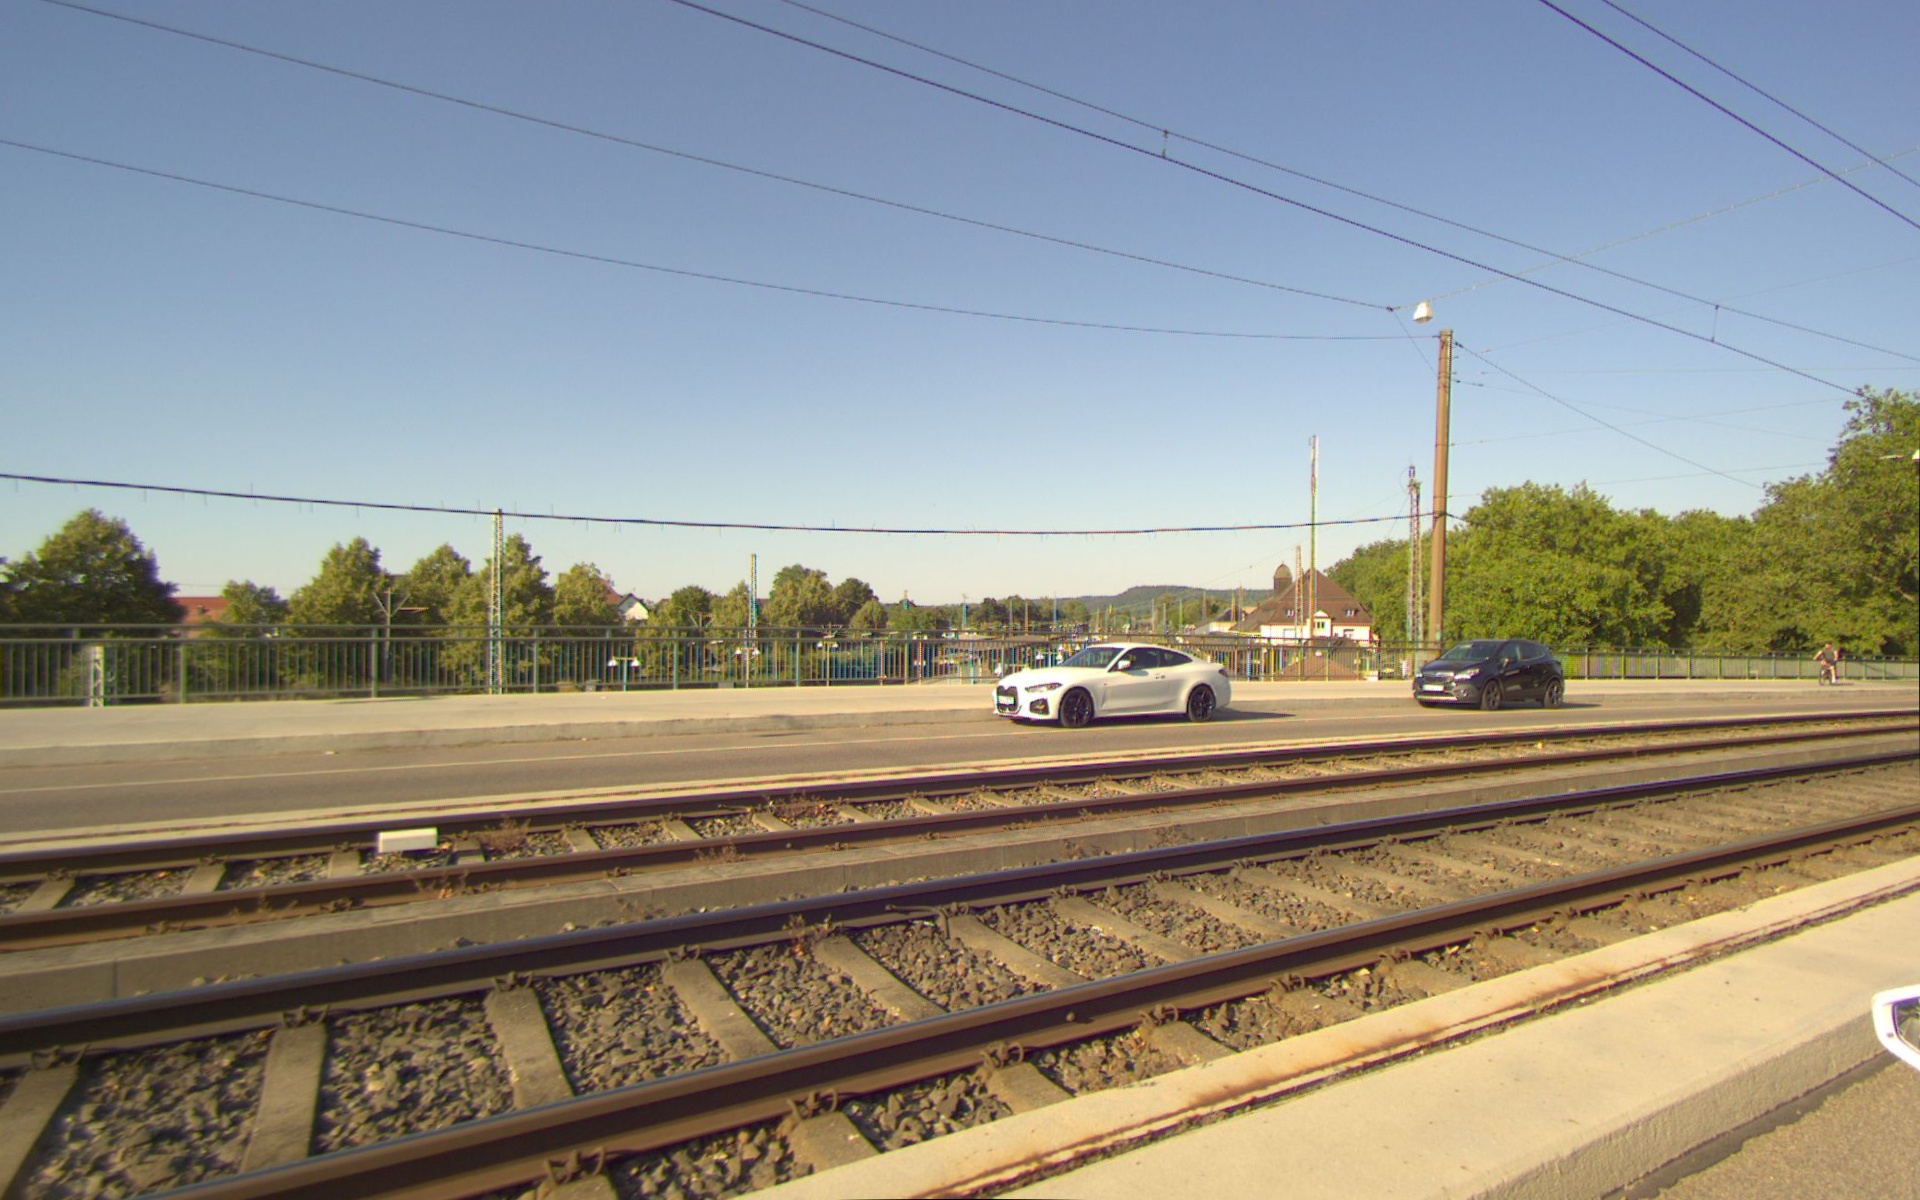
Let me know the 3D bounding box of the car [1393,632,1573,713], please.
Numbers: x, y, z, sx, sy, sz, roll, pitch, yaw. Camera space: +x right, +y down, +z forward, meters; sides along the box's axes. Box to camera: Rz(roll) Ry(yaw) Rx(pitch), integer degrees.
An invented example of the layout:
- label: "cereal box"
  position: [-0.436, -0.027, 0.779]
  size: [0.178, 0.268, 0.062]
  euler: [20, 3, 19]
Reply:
- label: "car"
  position: [12.478, 1.657, 23.911]
  size: [4.395, 1.672, 1.771]
  euler: [0, 0, -31]

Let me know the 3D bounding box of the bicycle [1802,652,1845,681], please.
- label: "bicycle"
  position: [35.300, 2.717, 41.063]
  size: [2.075, 1.112, 0.676]
  euler: [2, 1, -30]

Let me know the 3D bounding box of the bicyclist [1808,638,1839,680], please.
- label: "bicyclist"
  position: [35.304, 2.397, 41.052]
  size: [0.879, 1.648, 0.676]
  euler: [1, 1, -30]

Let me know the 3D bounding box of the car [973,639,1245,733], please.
- label: "car"
  position: [2.728, 1.443, 17.935]
  size: [4.863, 1.374, 1.676]
  euler: [0, 0, -31]
